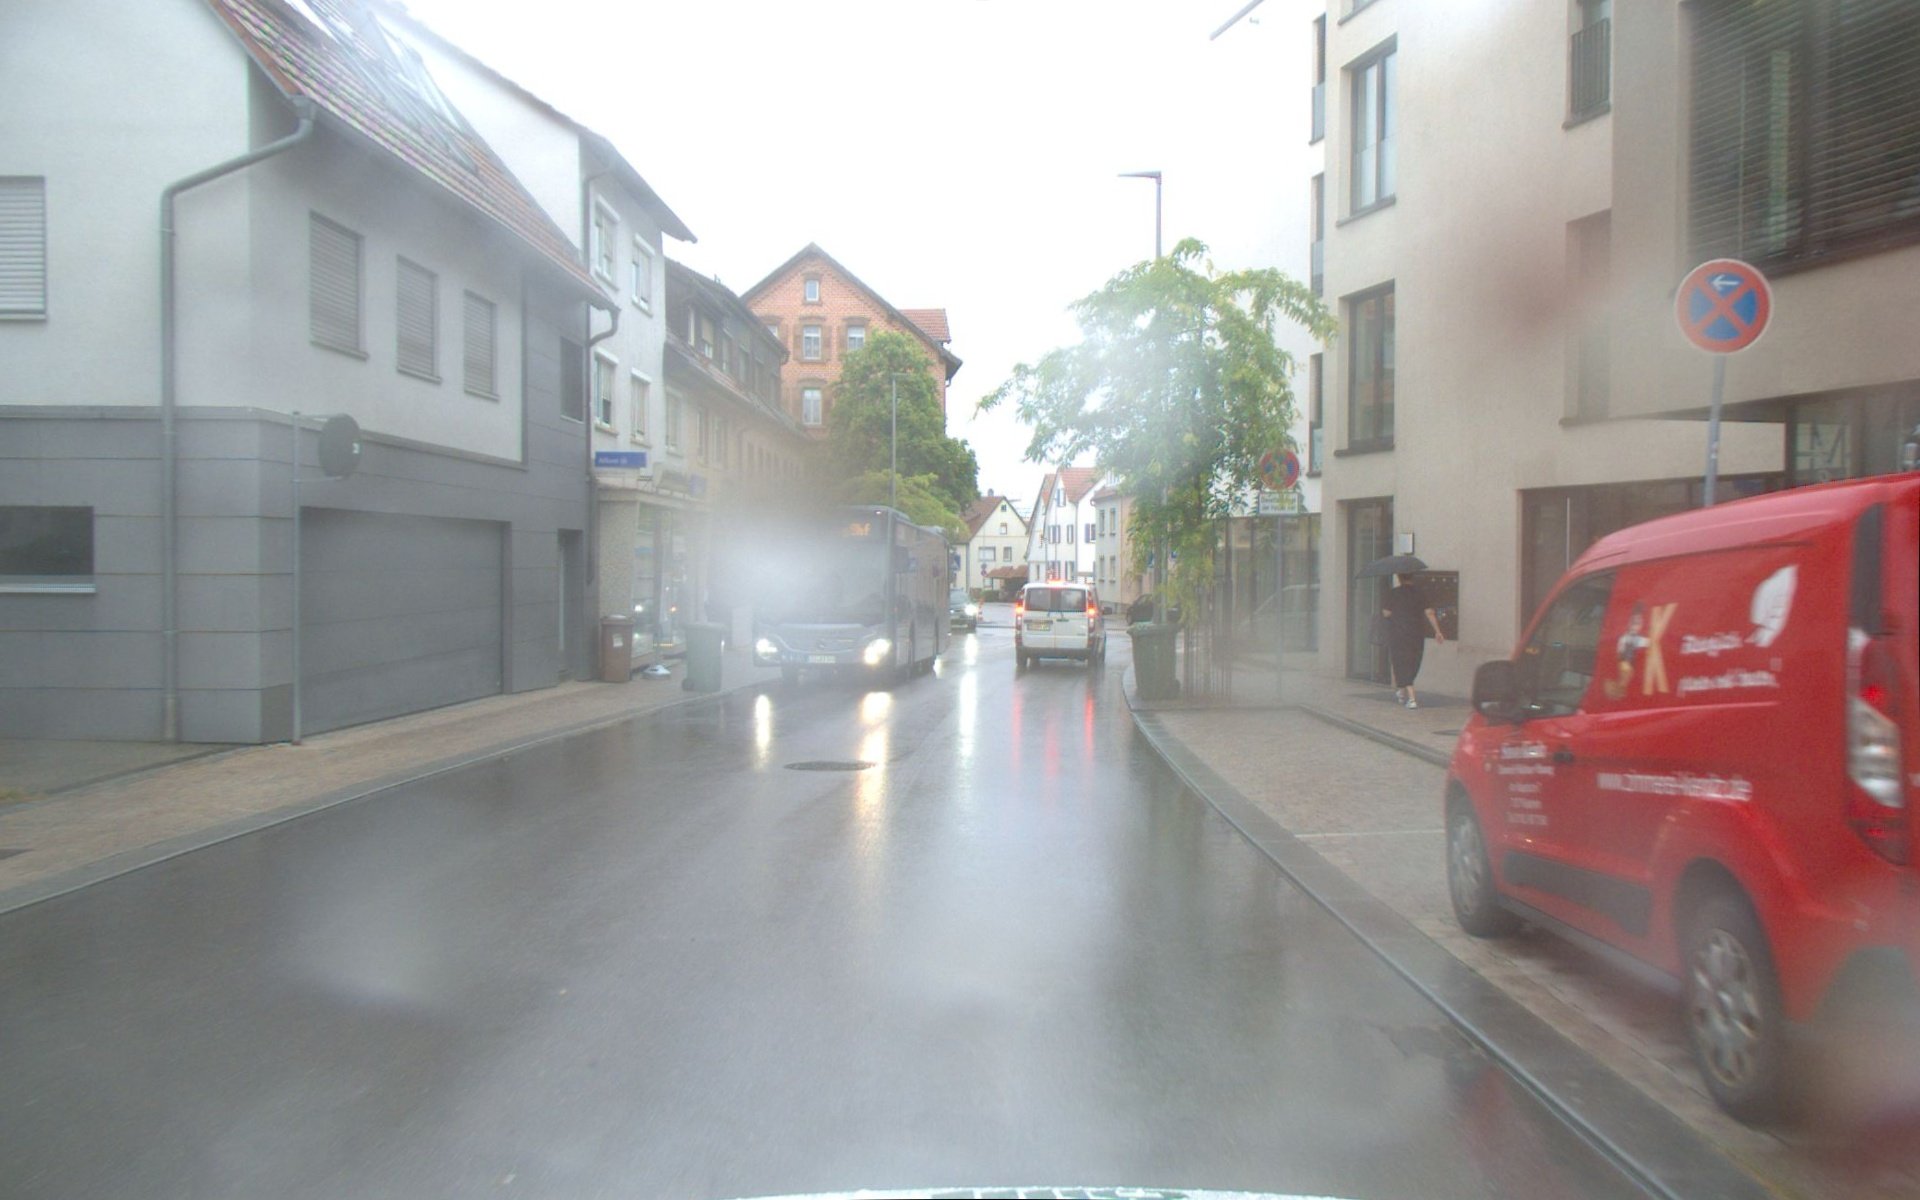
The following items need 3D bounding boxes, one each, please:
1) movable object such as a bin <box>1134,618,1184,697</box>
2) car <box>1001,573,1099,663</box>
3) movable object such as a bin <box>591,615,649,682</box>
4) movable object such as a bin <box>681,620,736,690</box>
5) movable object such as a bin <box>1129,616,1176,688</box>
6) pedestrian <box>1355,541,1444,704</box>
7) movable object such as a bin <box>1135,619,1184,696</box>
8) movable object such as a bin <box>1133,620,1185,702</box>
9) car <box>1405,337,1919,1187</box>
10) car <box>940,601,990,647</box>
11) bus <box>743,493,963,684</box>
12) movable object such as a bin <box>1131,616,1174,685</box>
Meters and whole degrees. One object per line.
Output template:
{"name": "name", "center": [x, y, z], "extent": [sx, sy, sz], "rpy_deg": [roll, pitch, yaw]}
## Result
{"name": "movable object such as a bin", "center": [3.063, 0.884, 25.441], "extent": [0.735, 1.191, 0.631], "rpy_deg": [-1, -1, 8]}
{"name": "car", "center": [2.090, 0.414, 38.425], "extent": [2.107, 1.932, 4.927], "rpy_deg": [1, -1, 3]}
{"name": "movable object such as a bin", "center": [-5.628, 0.802, 27.423], "extent": [0.776, 1.078, 0.702], "rpy_deg": [1, 0, 1]}
{"name": "movable object such as a bin", "center": [-3.994, 0.874, 26.310], "extent": [0.725, 1.078, 0.726], "rpy_deg": [1, 0, 1]}
{"name": "movable object such as a bin", "center": [3.138, 0.843, 27.039], "extent": [0.745, 1.137, 0.624], "rpy_deg": [1, 0, 5]}
{"name": "pedestrian", "center": [5.694, 0.285, 21.465], "extent": [0.849, 2.049, 1.082], "rpy_deg": [1, -1, 0]}
{"name": "movable object such as a bin", "center": [3.158, 0.902, 26.097], "extent": [0.735, 1.191, 0.631], "rpy_deg": [-1, -1, 8]}
{"name": "movable object such as a bin", "center": [2.962, 0.903, 24.554], "extent": [0.735, 1.191, 0.631], "rpy_deg": [-1, -1, 8]}
{"name": "car", "center": [3.121, 0.371, 6.035], "extent": [1.797, 1.940, 4.605], "rpy_deg": [-2, -1, 1]}
{"name": "car", "center": [0.207, 0.867, 61.107], "extent": [1.749, 1.534, 4.470], "rpy_deg": [1, 1, 1]}
{"name": "bus", "center": [-1.785, -0.226, 32.988], "extent": [2.666, 3.133, 10.953], "rpy_deg": [1, 0, 5]}
{"name": "movable object such as a bin", "center": [3.278, 0.857, 28.219], "extent": [0.708, 1.137, 0.577], "rpy_deg": [1, 0, 5]}
